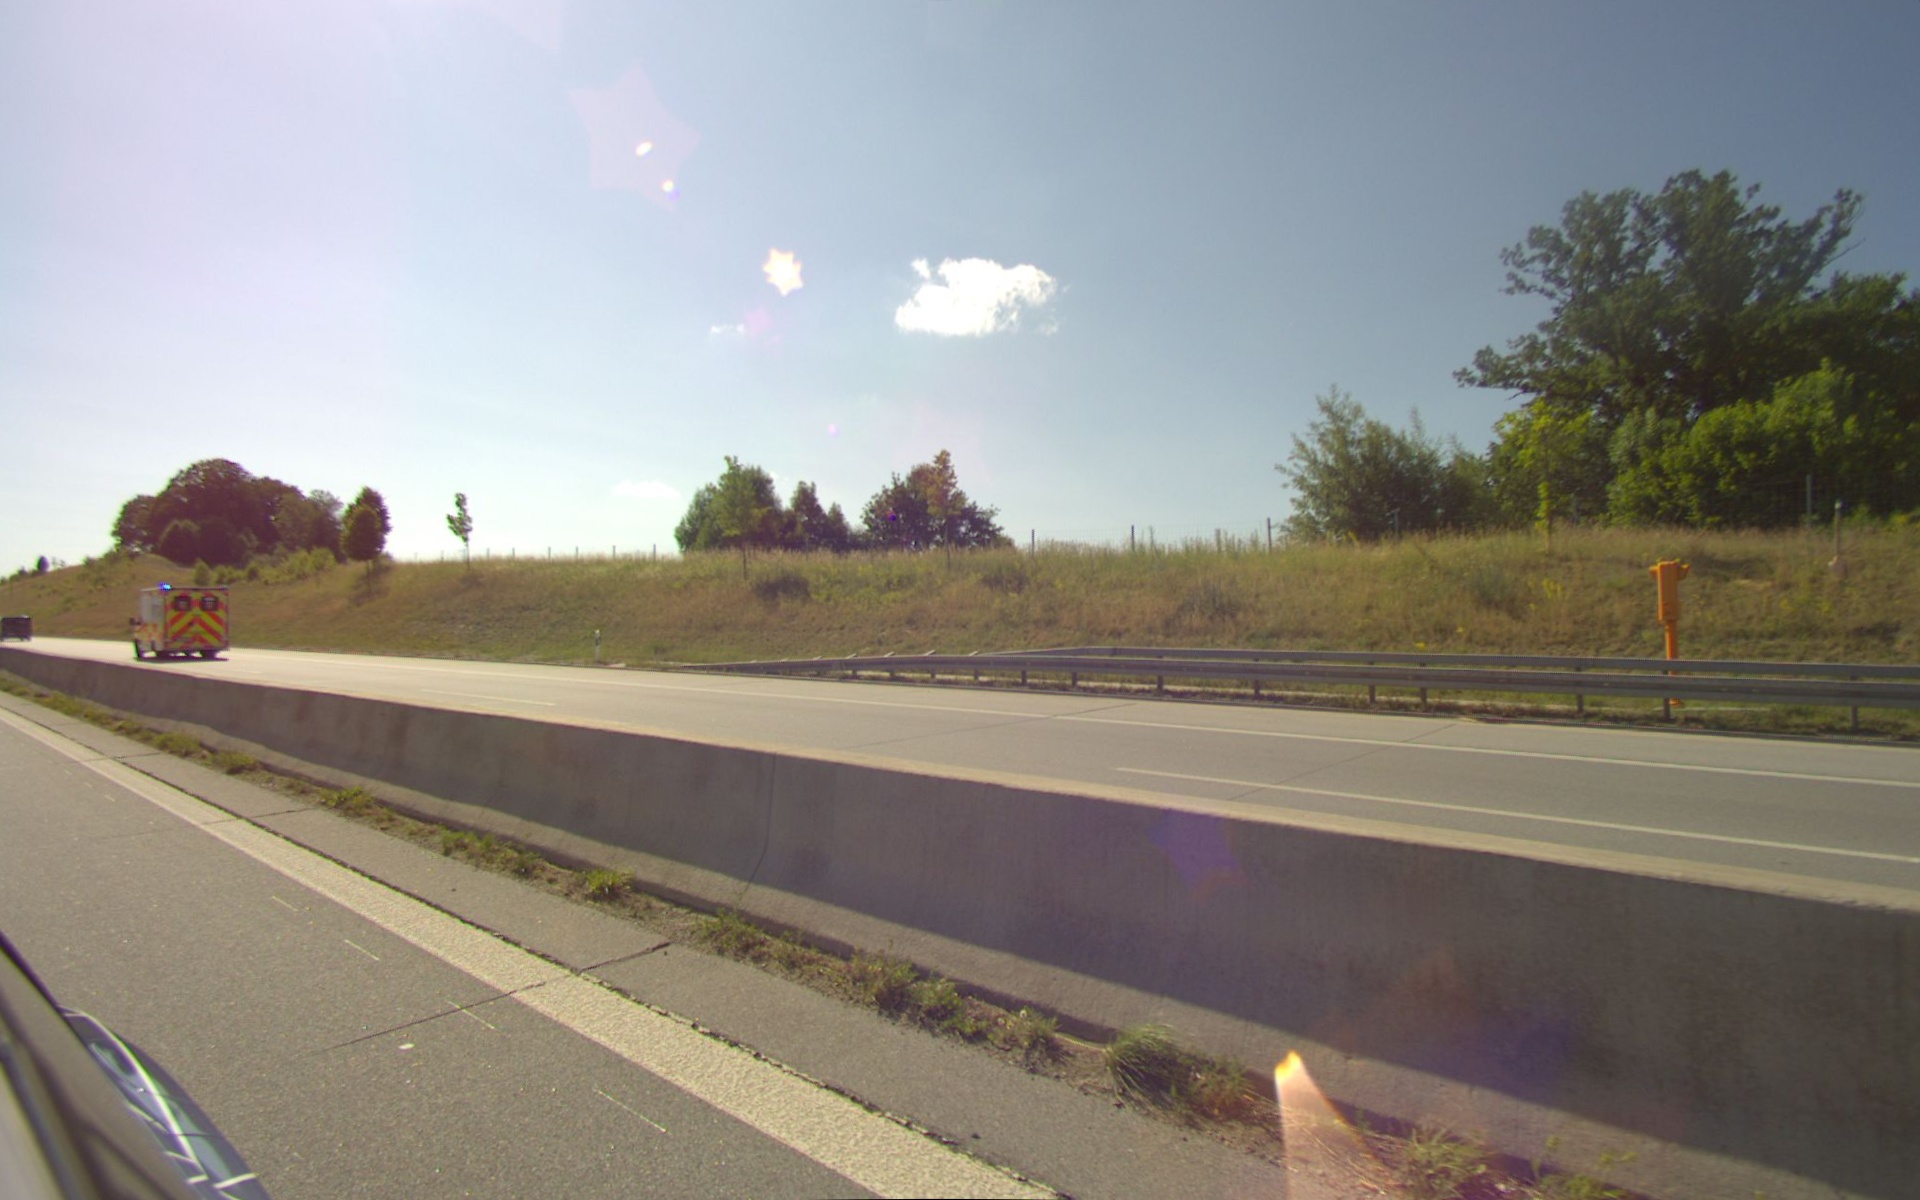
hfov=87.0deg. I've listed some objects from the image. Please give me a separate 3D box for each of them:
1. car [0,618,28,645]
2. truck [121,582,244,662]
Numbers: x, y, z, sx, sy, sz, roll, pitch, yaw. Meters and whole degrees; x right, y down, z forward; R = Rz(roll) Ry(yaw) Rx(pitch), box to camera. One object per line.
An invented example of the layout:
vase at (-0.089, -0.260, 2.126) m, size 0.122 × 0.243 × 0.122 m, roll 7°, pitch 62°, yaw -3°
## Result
car at (-74.763, 2.497, 79.320) m, size 4.967 × 2.029 × 1.973 m, roll -1°, pitch -1°, yaw 41°
truck at (-32.360, 0.916, 42.021) m, size 6.788 × 3.044 × 2.745 m, roll -1°, pitch -1°, yaw 41°
